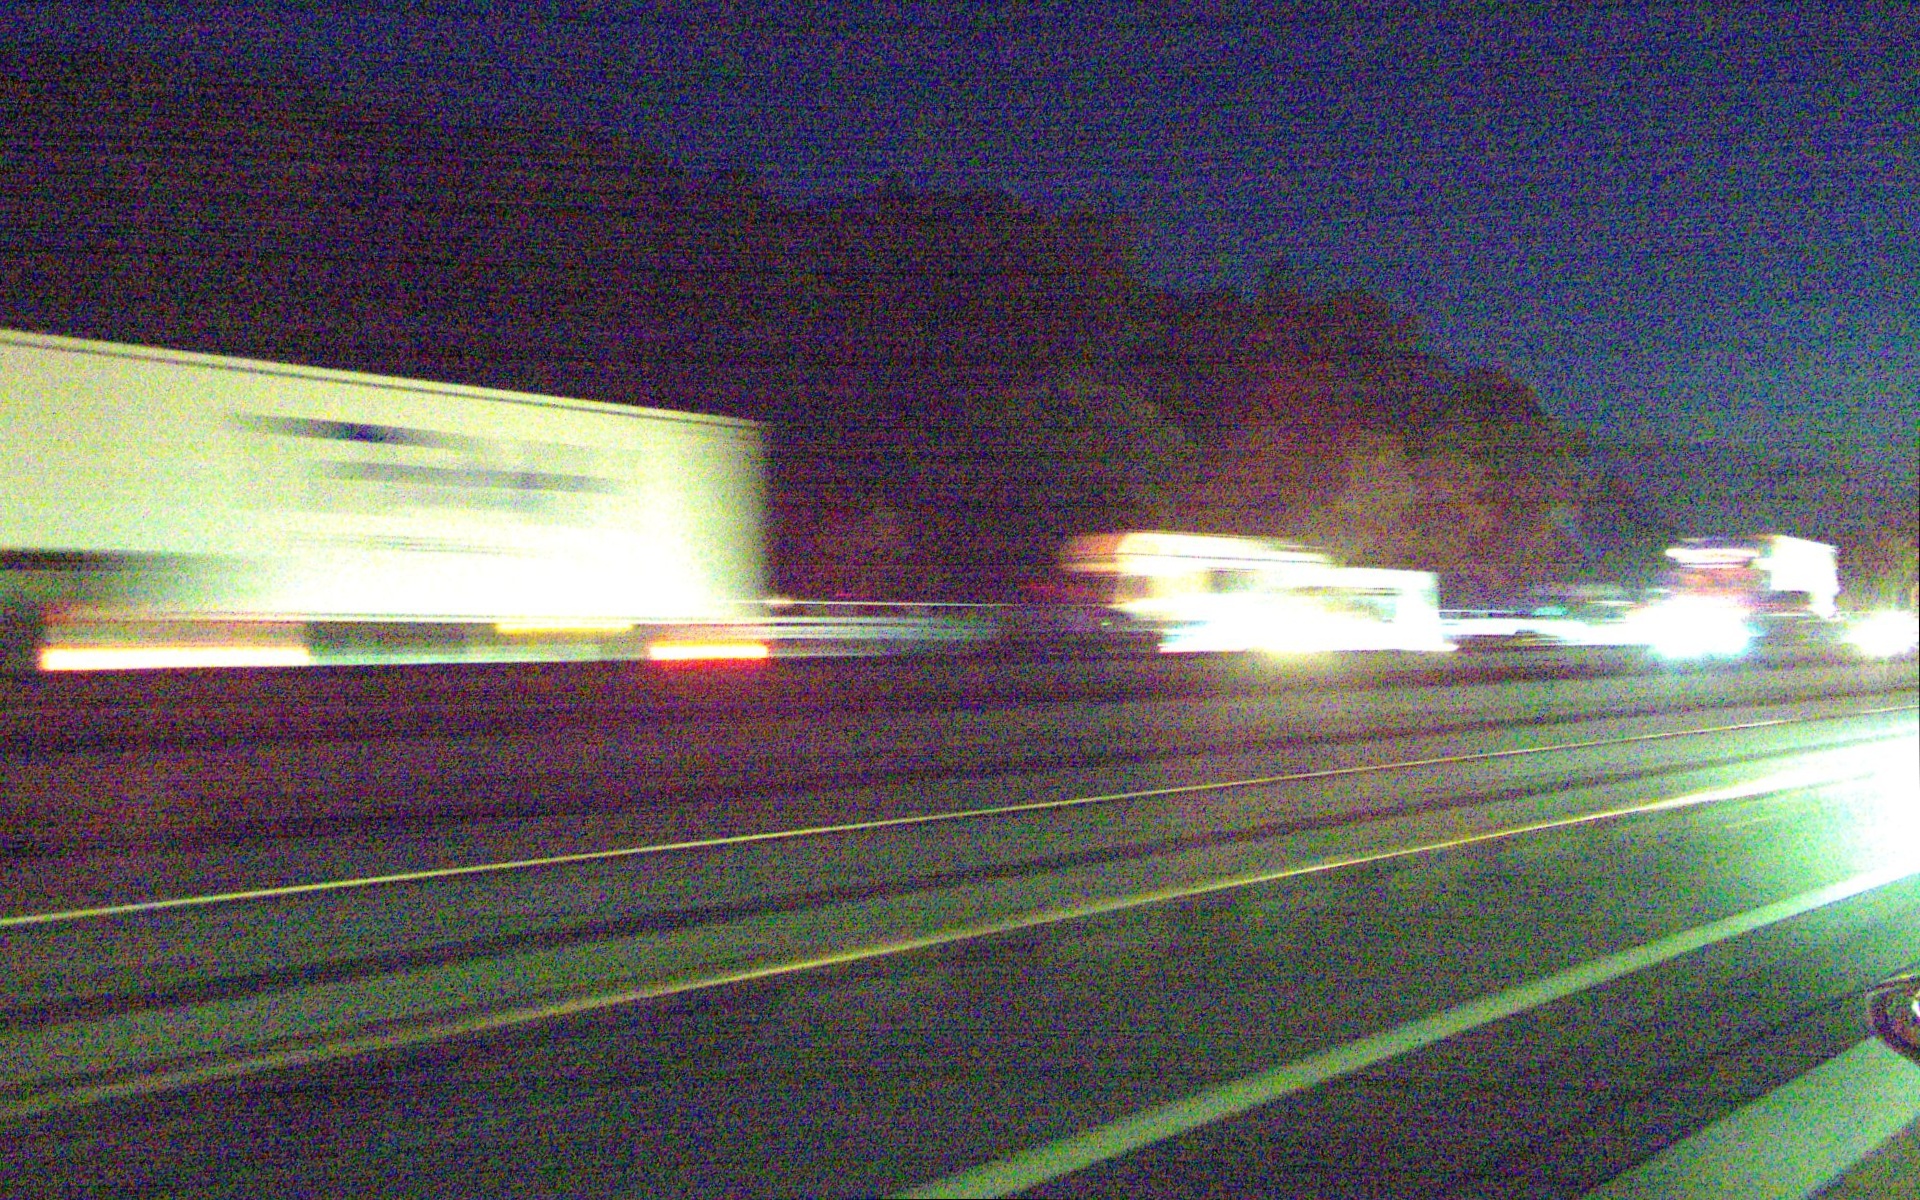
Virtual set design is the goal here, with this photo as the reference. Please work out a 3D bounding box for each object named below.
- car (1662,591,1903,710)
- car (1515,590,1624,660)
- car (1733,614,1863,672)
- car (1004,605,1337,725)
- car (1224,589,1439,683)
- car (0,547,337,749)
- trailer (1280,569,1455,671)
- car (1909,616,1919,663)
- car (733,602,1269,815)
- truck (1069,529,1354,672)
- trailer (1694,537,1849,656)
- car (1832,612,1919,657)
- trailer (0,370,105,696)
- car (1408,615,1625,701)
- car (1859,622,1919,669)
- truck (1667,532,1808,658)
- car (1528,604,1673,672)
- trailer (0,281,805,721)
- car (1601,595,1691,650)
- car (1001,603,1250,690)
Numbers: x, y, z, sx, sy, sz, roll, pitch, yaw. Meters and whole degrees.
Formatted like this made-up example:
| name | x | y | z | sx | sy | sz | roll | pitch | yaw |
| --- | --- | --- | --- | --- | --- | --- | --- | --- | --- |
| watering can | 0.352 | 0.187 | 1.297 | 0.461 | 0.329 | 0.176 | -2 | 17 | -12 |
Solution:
| name | x | y | z | sx | sy | sz | roll | pitch | yaw |
| --- | --- | --- | --- | --- | --- | --- | --- | --- | --- |
| car | 15.221 | 0.978 | 18.529 | 4.812 | 1.947 | 1.867 | 2 | -5 | -31 |
| car | 22.329 | 0.893 | 36.737 | 4.473 | 2.431 | 1.978 | 1 | 0 | -39 |
| car | 23.650 | 1.231 | 28.310 | 3.957 | 1.368 | 1.619 | 3 | 3 | -33 |
| car | 3.193 | 0.922 | 14.953 | 4.810 | 1.512 | 1.895 | 2 | 0 | -30 |
| car | 8.388 | 0.779 | 22.519 | 4.965 | 1.912 | 1.893 | 1 | 0 | -32 |
| car | -7.954 | 0.333 | 8.141 | 4.810 | 1.512 | 1.895 | 2 | 0 | -30 |
| trailer | 12.029 | 0.587 | 29.563 | 4.938 | 2.781 | 2.350 | 1 | 0 | -33 |
| car | 40.157 | 1.623 | 40.184 | 4.694 | 1.834 | 1.983 | 2 | 0 | -31 |
| car | 0.527 | 0.827 | 9.157 | 4.813 | 1.512 | 1.617 | 1 | 0 | -32 |
| truck | 6.702 | 0.092 | 26.122 | 7.827 | 3.261 | 2.480 | 1 | 0 | -33 |
| trailer | 30.407 | -0.055 | 37.478 | 8.666 | 3.969 | 2.797 | 1 | 0 | -40 |
| car | 40.142 | 1.484 | 44.009 | 4.702 | 1.834 | 1.882 | 2 | 0 | -36 |
| trailer | -18.412 | -1.014 | 11.148 | 13.128 | 4.226 | 2.826 | 2 | -2 | -30 |
| car | 11.389 | 1.143 | 20.447 | 4.817 | 1.512 | 1.892 | 2 | 0 | -34 |
| car | 32.346 | 1.518 | 33.944 | 4.603 | 1.462 | 1.934 | 2 | 0 | -35 |
| truck | 26.582 | -0.122 | 34.300 | 4.893 | 3.969 | 2.804 | 1 | 0 | -40 |
| car | 18.939 | 1.099 | 29.668 | 4.272 | 1.834 | 1.983 | 2 | 0 | -32 |
| trailer | -9.178 | -0.962 | 12.408 | 14.358 | 4.523 | 2.825 | 2 | -1 | -31 |
| car | 27.570 | 0.908 | 40.309 | 4.473 | 2.106 | 1.700 | 2 | 0 | -39 |
| car | 3.322 | 0.874 | 19.774 | 4.815 | 1.512 | 1.893 | 1 | 0 | -33 |
